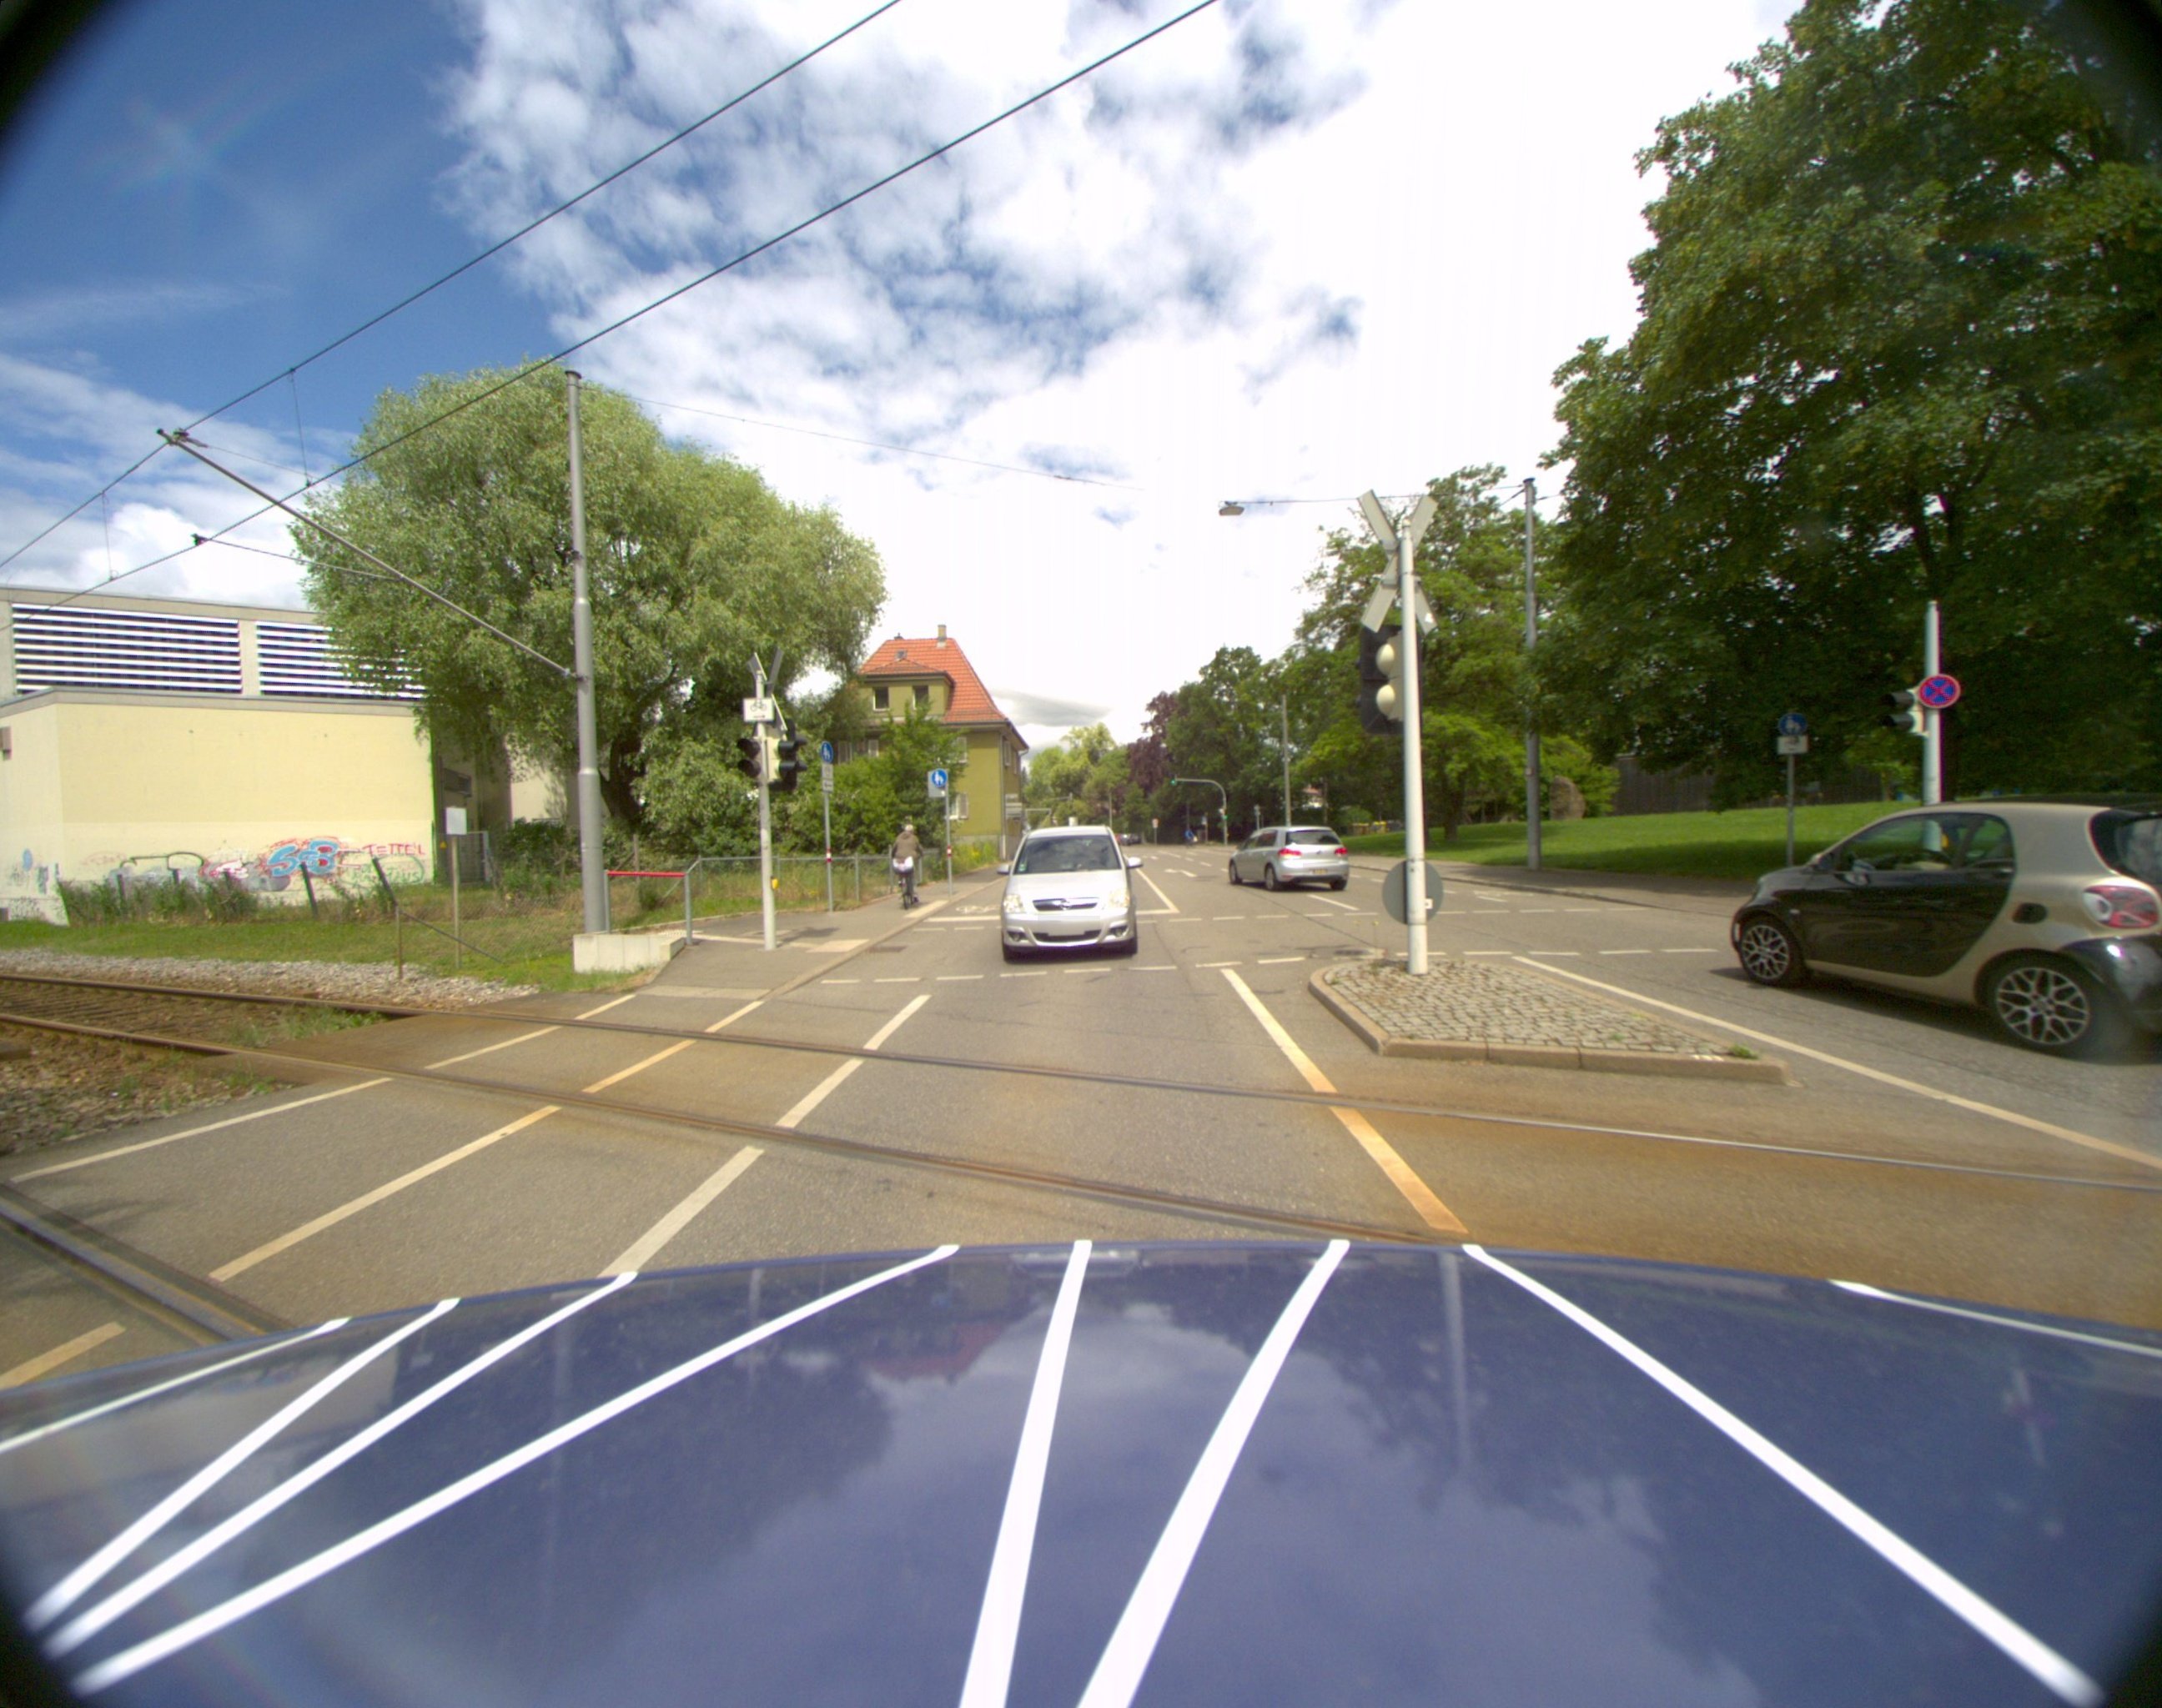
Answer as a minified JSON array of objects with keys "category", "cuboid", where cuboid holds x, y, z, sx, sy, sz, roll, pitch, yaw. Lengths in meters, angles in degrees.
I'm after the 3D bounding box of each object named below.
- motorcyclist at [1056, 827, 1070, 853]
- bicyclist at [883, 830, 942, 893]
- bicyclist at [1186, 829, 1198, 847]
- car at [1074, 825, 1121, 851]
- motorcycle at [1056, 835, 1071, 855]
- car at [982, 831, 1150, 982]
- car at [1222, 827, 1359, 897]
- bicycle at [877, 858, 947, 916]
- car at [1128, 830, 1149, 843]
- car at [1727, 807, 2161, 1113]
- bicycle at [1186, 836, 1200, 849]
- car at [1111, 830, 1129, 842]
[{"category":"motorcyclist","cuboid":[-1.079,-0.879,46.137,0.837,1.548,0.650,-1,3,1]},{"category":"bicyclist","cuboid":[-3.483,0.130,15.820,0.934,1.241,1.102,0,3,3]},{"category":"bicyclist","cuboid":[10.189,-1.487,69.591,0.807,1.600,0.771,-4,3,-6]},{"category":"car","cuboid":[1.314,-1.358,61.934,2.002,1.984,4.360,-3,3,-26]},{"category":"motorcycle","cuboid":[-1.062,-0.569,46.235,0.837,1.102,1.799,-1,3,1]},{"category":"car","cuboid":[-0.082,0.536,10.513,1.780,1.520,3.999,-4,2,3]},{"category":"car","cuboid":[4.850,0.116,18.194,1.693,1.450,4.065,-2,2,-7]},{"category":"bicycle","cuboid":[-3.479,0.656,15.876,0.934,1.035,1.914,0,3,3]},{"category":"car","cuboid":[7.016,-2.209,93.538,1.899,1.502,3.996,-2,2,-6]},{"category":"car","cuboid":[6.354,0.478,5.174,1.578,1.502,2.787,-3,3,2]},{"category":"bicycle","cuboid":[10.231,-1.044,69.676,0.814,1.101,1.798,-4,3,-5]},{"category":"car","cuboid":[5.222,-2.493,102.487,1.899,1.502,3.996,-2,2,-6]}]
